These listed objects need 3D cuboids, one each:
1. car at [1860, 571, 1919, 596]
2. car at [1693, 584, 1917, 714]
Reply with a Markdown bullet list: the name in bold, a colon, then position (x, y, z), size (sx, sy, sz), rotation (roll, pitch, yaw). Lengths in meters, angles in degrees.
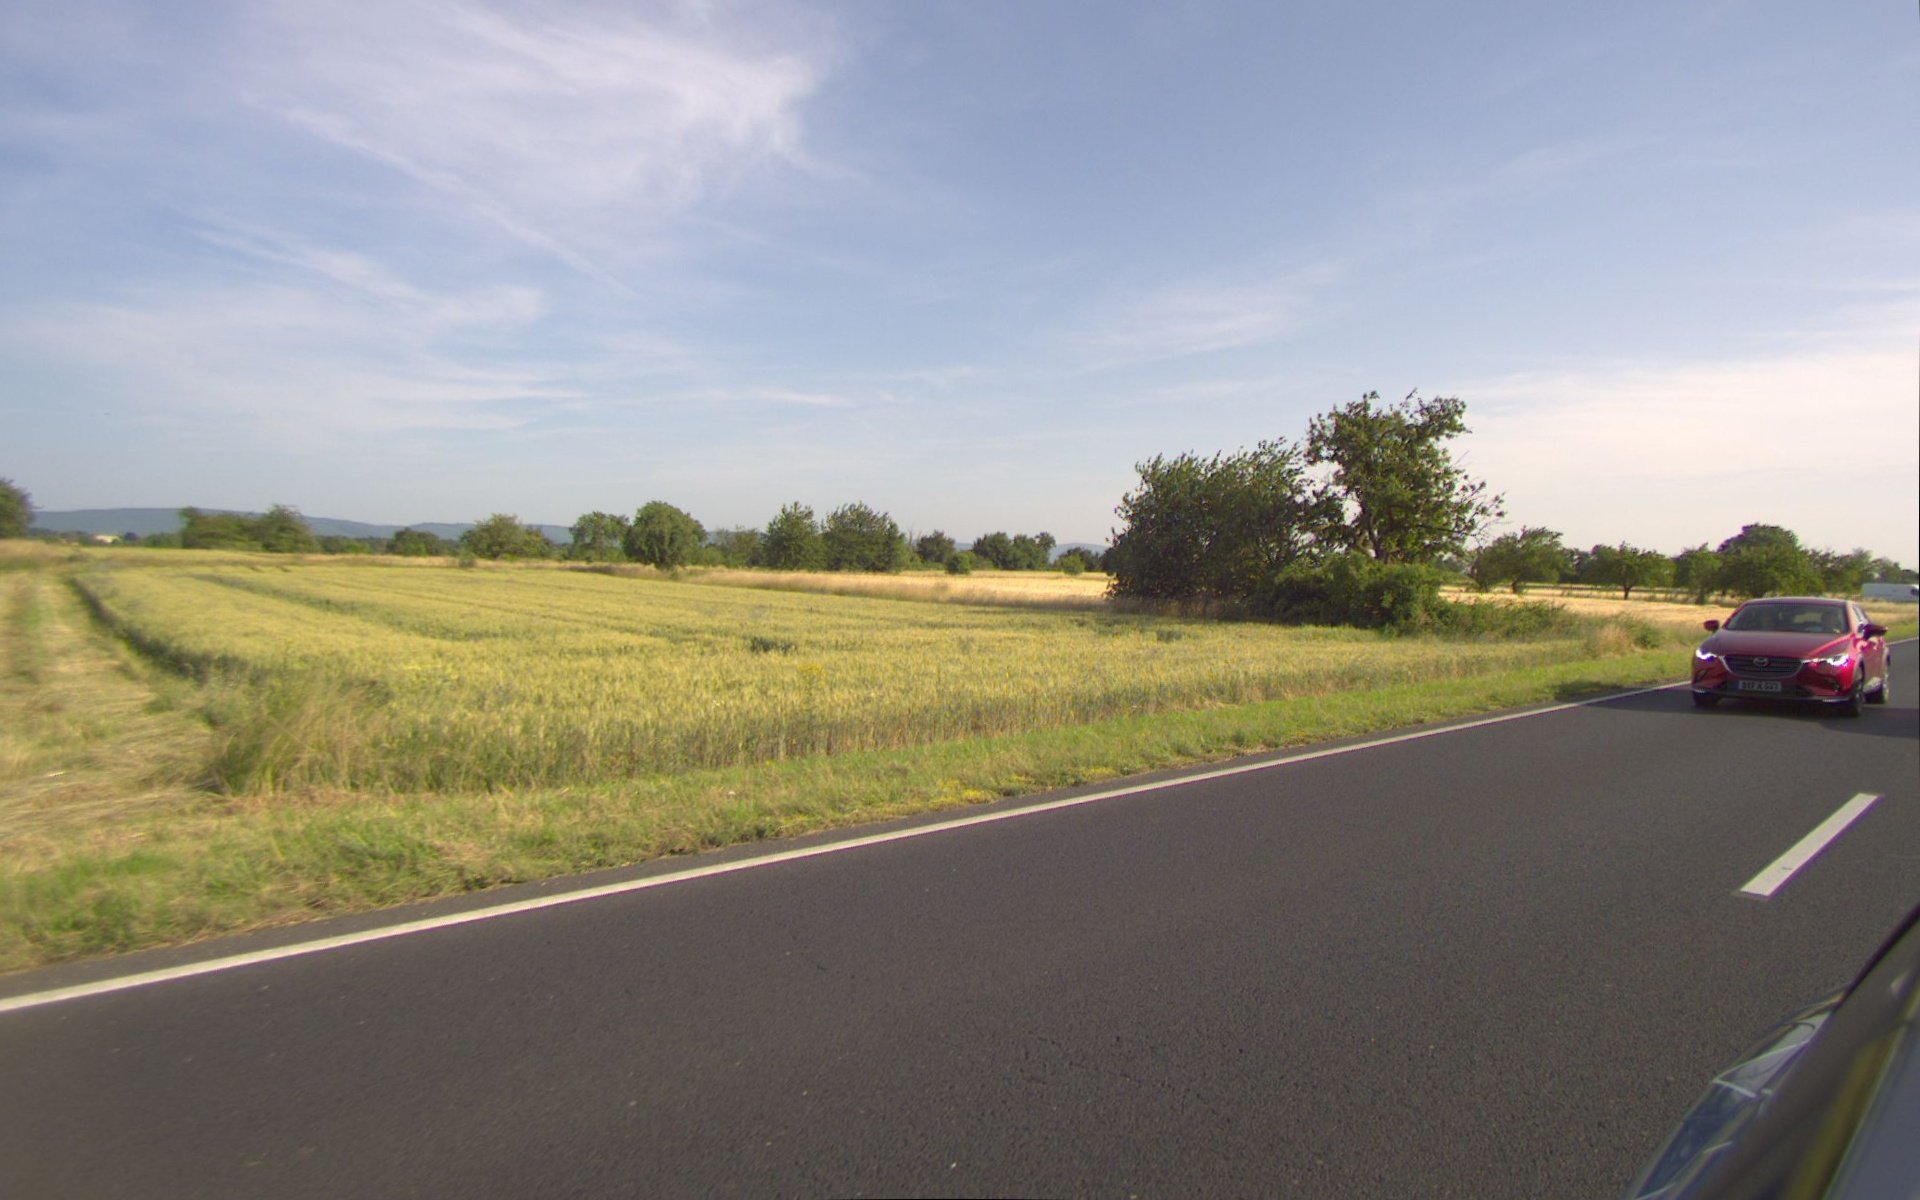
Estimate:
- **car**: position (105.290, -1.833, 112.689), size (2.049, 2.701, 7.230), rotation (-1, 3, -26)
- **car**: position (11.981, 0.556, 14.247), size (4.422, 1.524, 1.707), rotation (-1, 1, -40)
